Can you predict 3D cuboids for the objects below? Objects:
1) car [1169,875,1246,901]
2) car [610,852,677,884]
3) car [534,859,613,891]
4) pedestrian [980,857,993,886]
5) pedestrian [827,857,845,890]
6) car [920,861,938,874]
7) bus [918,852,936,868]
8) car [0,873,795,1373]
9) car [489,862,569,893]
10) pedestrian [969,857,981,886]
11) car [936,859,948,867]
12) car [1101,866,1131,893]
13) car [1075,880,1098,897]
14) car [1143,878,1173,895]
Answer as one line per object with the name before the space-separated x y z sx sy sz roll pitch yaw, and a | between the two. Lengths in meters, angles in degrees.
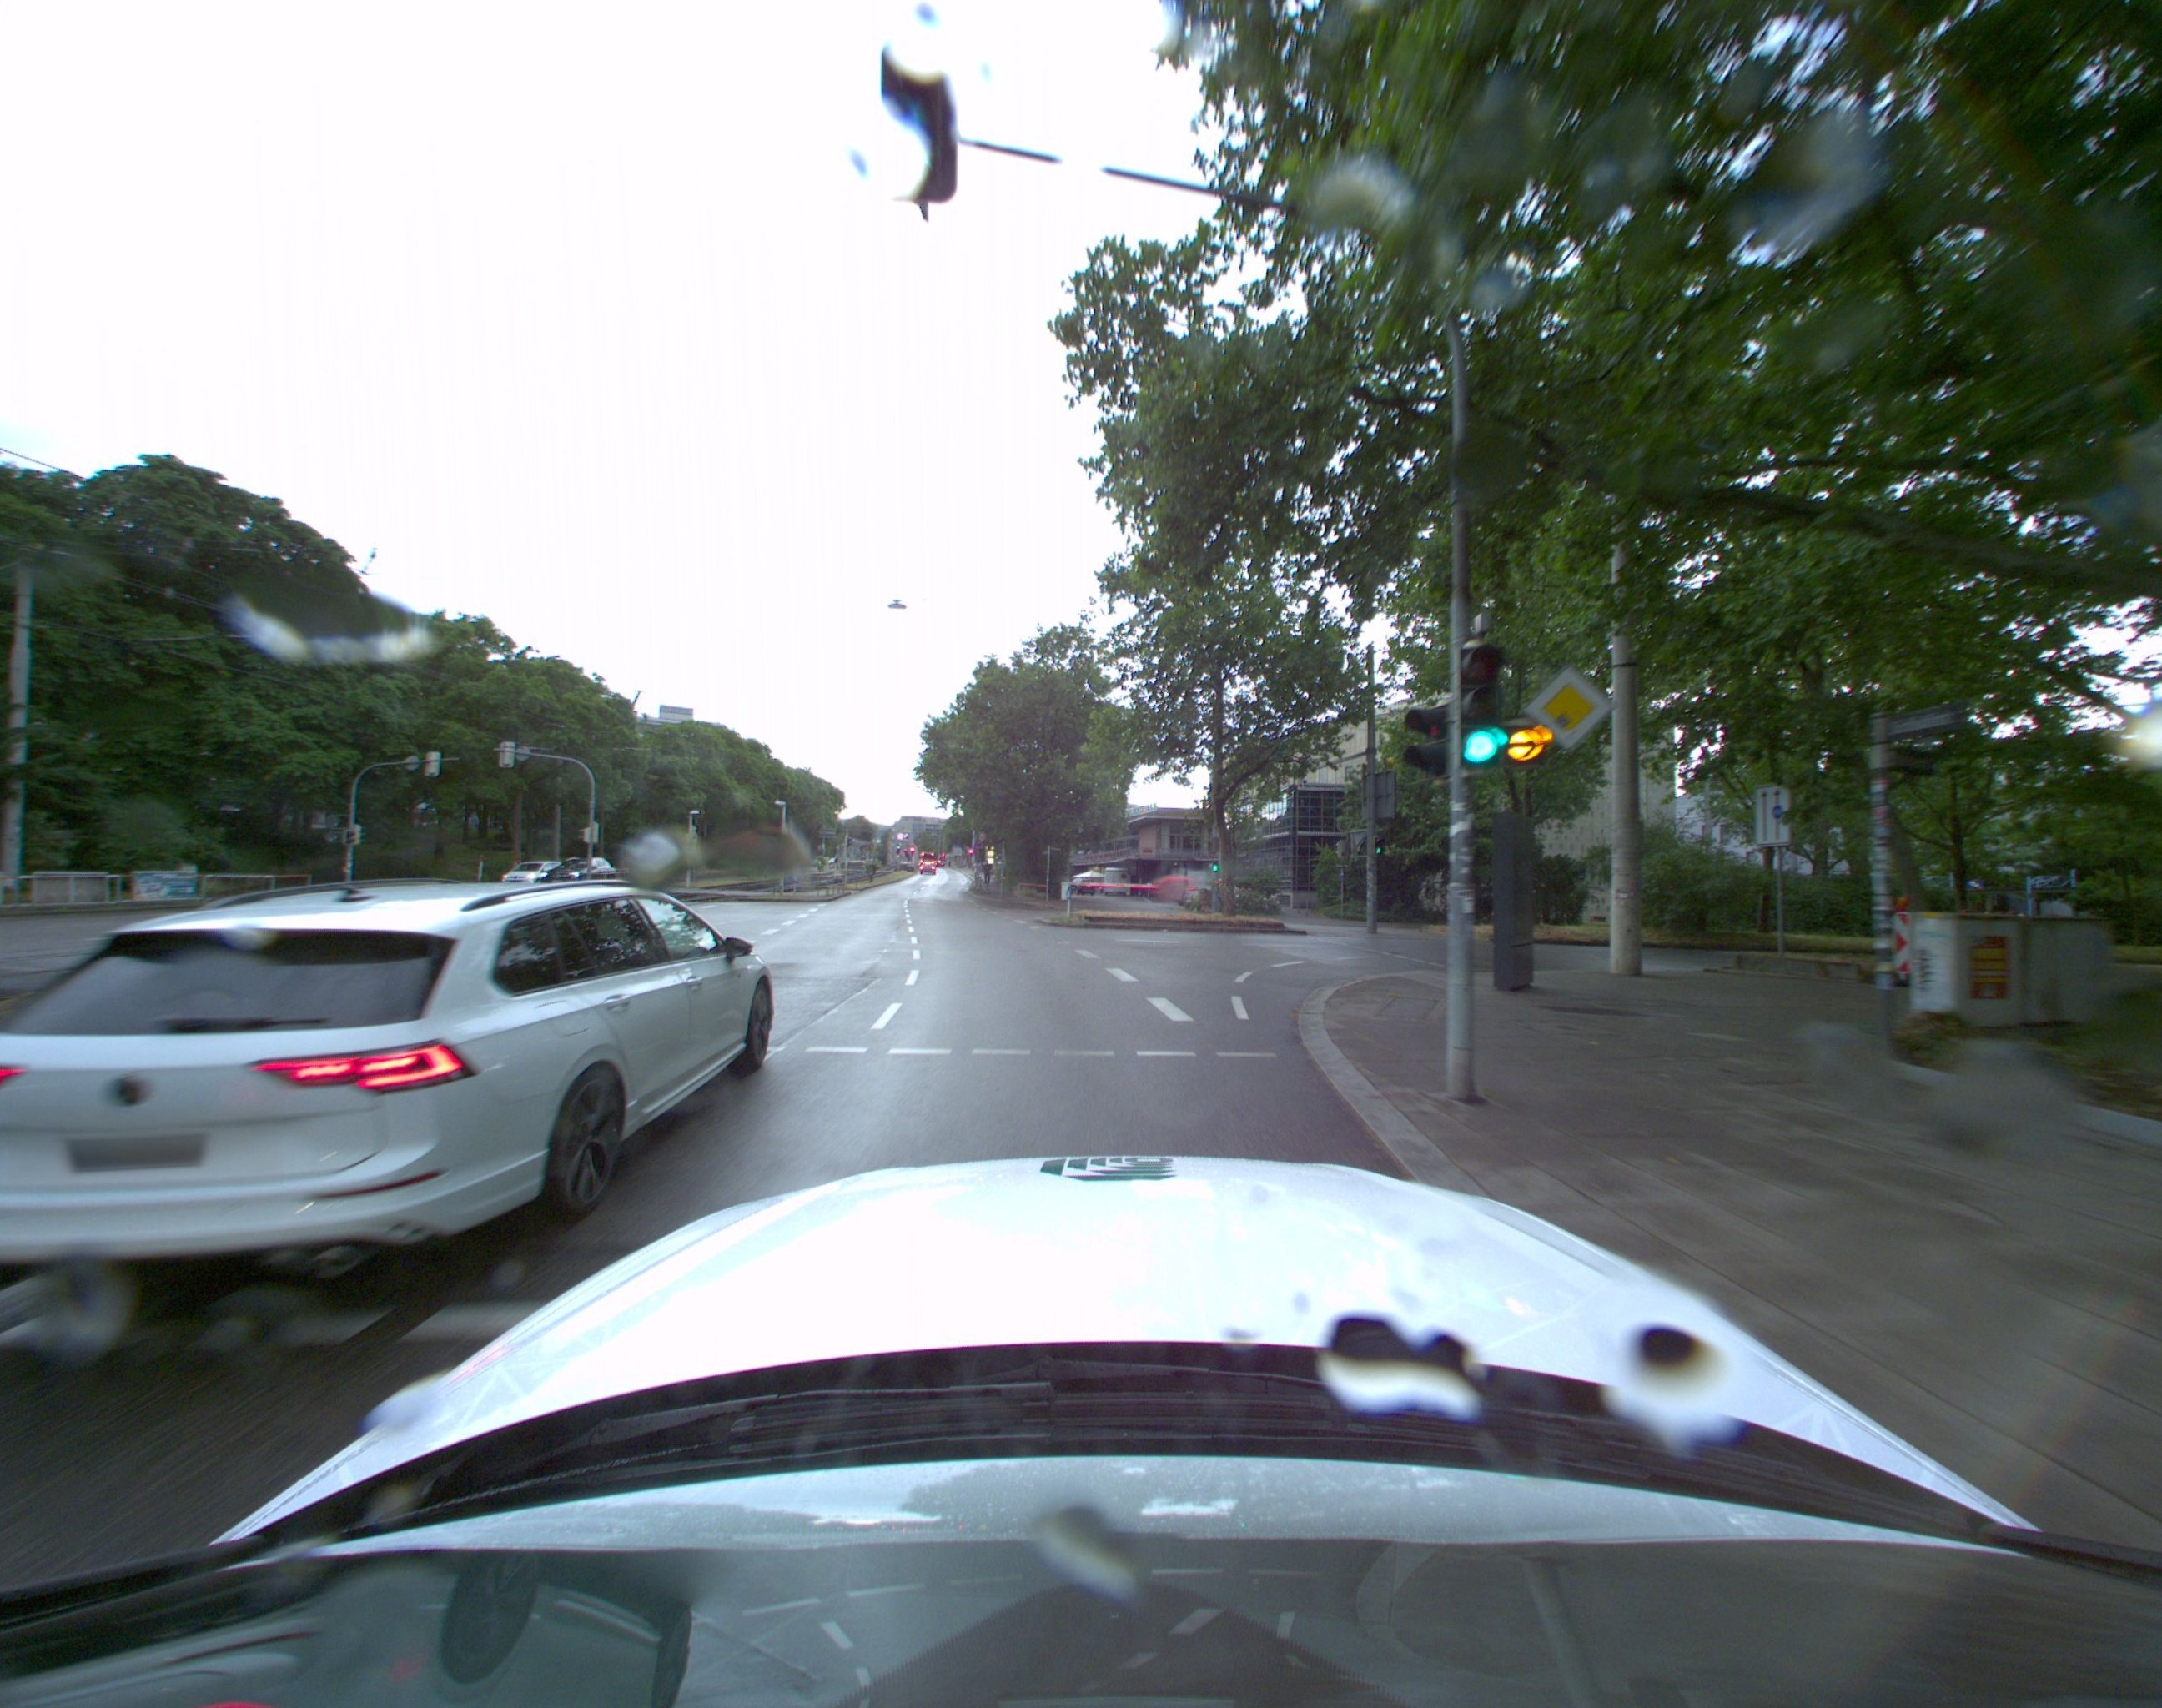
car | 9.070 2.437 58.261 5.222 1.731 1.860 2 -1 -23
car | -26.692 0.866 49.866 1.917 1.851 4.557 1 -1 -5
car | -25.763 1.066 41.494 1.917 1.546 3.673 1 -1 -6
pedestrian | -6.758 1.244 58.511 0.873 2.014 1.075 -1 -1 -6
pedestrian | -13.478 1.056 44.787 0.871 1.802 0.863 2 -1 -15
car | -18.095 1.646 96.958 1.993 1.519 4.336 -1 -1 -9
bus | -32.818 1.310 173.560 3.591 3.171 10.380 -1 -1 -11
car | -3.120 0.854 4.655 1.793 1.442 4.465 -1 -2 -6
car | -29.192 1.240 43.186 1.917 1.546 3.673 1 -1 -6
pedestrian | -7.557 1.237 58.235 0.813 2.014 1.075 -1 -1 -6
car | -30.506 2.028 178.475 2.364 1.817 5.163 -1 -1 -11
car | 3.700 2.684 87.599 2.725 2.695 6.916 2 -1 -2
car | 0.620 3.576 84.191 2.010 1.551 4.354 1 -1 4
car | 8.062 3.388 85.205 2.020 1.551 4.334 2 -1 -10
